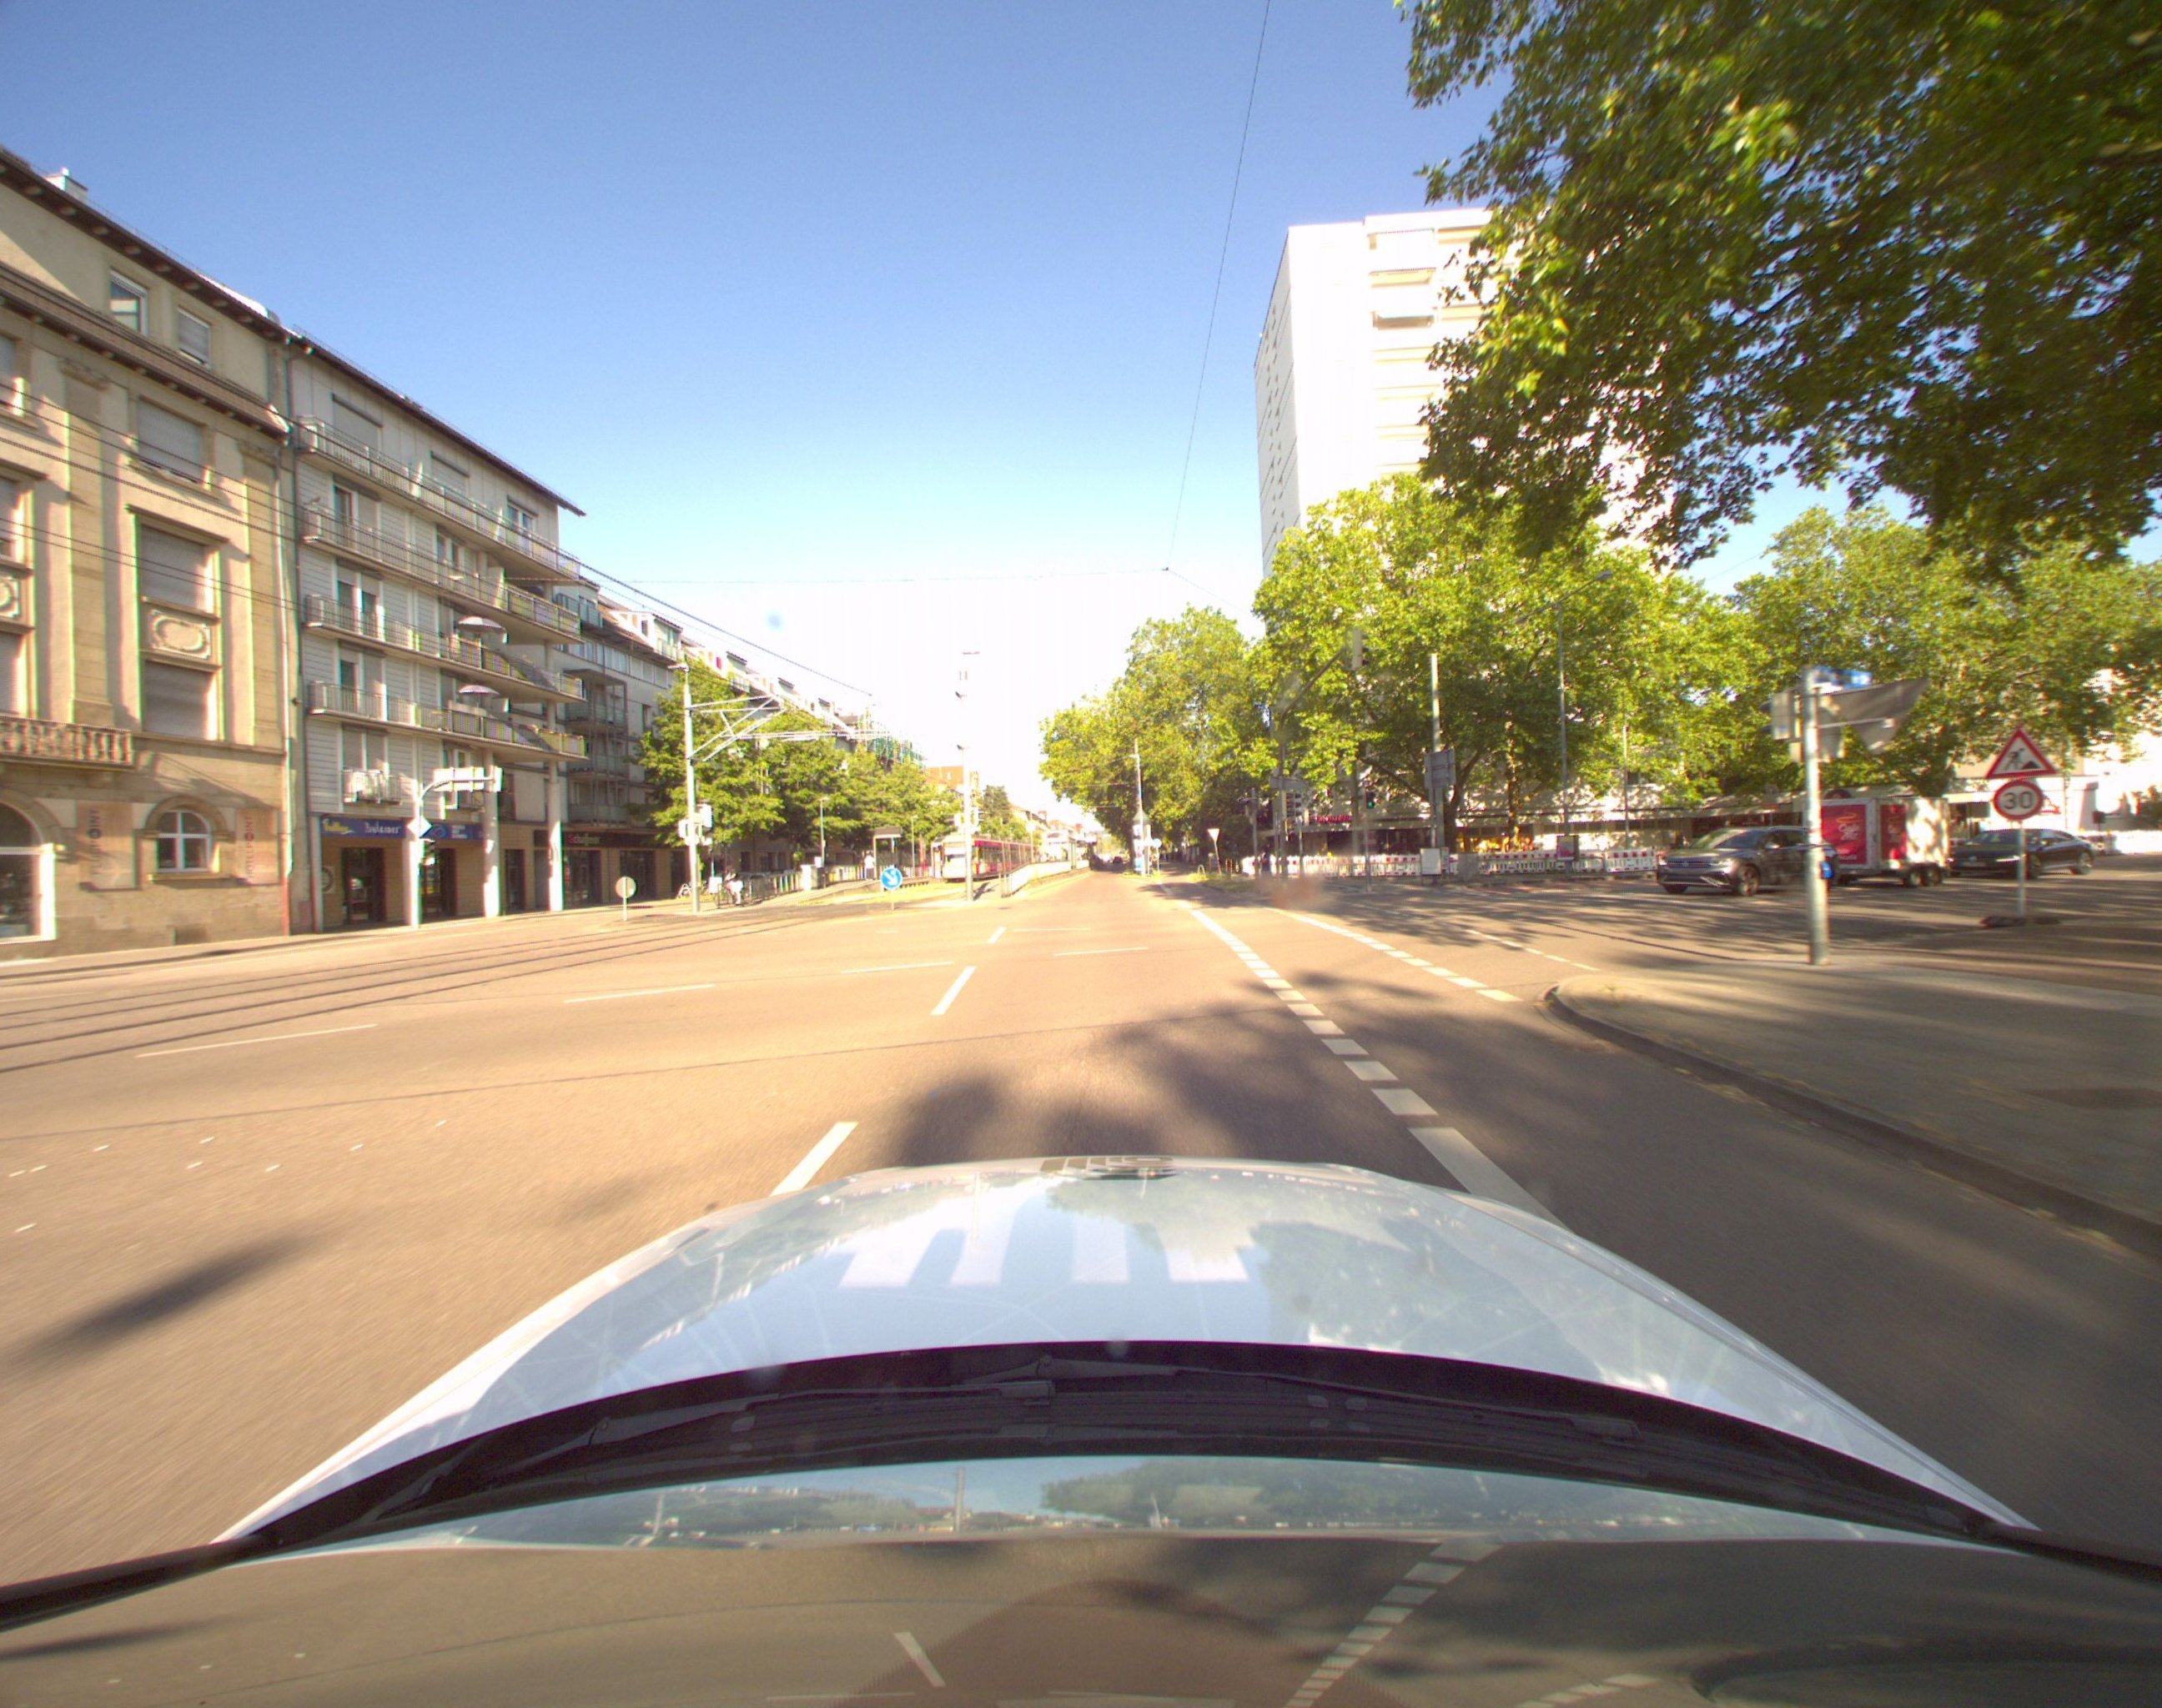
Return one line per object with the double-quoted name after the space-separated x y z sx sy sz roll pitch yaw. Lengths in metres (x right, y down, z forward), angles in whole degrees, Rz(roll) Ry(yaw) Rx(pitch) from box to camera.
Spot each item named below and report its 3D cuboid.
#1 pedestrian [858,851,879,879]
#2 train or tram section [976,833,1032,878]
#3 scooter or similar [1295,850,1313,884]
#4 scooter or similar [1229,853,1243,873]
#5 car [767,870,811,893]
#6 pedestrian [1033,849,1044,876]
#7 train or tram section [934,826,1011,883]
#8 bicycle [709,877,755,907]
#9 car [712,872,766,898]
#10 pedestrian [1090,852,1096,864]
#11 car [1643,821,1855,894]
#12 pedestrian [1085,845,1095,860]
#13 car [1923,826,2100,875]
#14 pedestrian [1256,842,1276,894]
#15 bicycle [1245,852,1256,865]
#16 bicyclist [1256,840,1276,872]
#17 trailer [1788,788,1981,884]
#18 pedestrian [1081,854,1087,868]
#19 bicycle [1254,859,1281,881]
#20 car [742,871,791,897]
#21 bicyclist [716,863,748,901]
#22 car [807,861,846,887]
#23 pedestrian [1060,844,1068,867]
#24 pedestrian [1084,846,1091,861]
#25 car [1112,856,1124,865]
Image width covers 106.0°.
-12.094 0.633 46.336 0.896 1.581 0.958 0 -1 1 "pedestrian"
-6.955 0.173 76.235 2.857 3.685 14.573 -2 0 3 "train or tram section"
8.690 0.503 31.770 0.557 1.257 1.294 -3 -1 11 "scooter or similar"
10.282 0.592 54.031 0.559 1.257 1.289 -3 -1 0 "scooter or similar"
-22.018 2.025 61.533 1.799 1.635 3.788 0 0 3 "car"
-2.580 0.512 49.528 0.627 1.609 0.982 0 -1 1 "pedestrian"
-7.880 0.076 61.703 2.857 3.675 14.573 -2 0 3 "train or tram section"
-13.035 1.402 30.477 0.529 1.053 1.832 -1 0 15 "bicycle"
-22.383 2.026 53.440 1.799 1.578 3.788 0 0 3 "car"
1.605 0.529 108.624 0.676 1.690 0.895 0 -1 3 "pedestrian"
16.337 0.074 19.947 4.579 1.640 1.923 0 0 -19 "car"
1.050 -0.172 94.144 0.913 1.722 0.625 0 -1 -31 "pedestrian"
27.450 -0.091 24.039 4.437 1.361 1.923 0 0 -19 "car"
6.010 0.445 26.454 0.427 1.639 0.612 -1 0 -5 "pedestrian"
16.434 0.431 79.008 0.786 1.177 1.822 0 0 3 "bicycle"
9.113 0.118 40.113 0.603 1.551 0.856 -2 -1 -11 "bicyclist"
21.757 -0.502 22.066 4.515 2.373 1.902 -2 0 -19 "trailer"
0.317 0.748 87.910 0.675 1.562 0.852 0 -1 3 "pedestrian"
9.154 0.762 40.053 0.603 1.026 1.759 -2 -1 -11 "bicycle"
-22.190 2.083 57.617 1.799 1.677 3.788 0 0 3 "car"
-13.042 1.041 30.449 0.529 1.372 1.023 -1 0 15 "bicyclist"
-21.552 1.650 69.182 1.932 2.166 3.788 0 0 3 "car"
-1.405 0.154 67.917 0.666 1.902 0.825 0 -1 2 "pedestrian"
0.713 -0.056 91.861 0.761 1.759 0.695 0 -1 2 "pedestrian"
6.709 1.195 147.149 1.985 1.684 4.003 0 0 3 "car"
